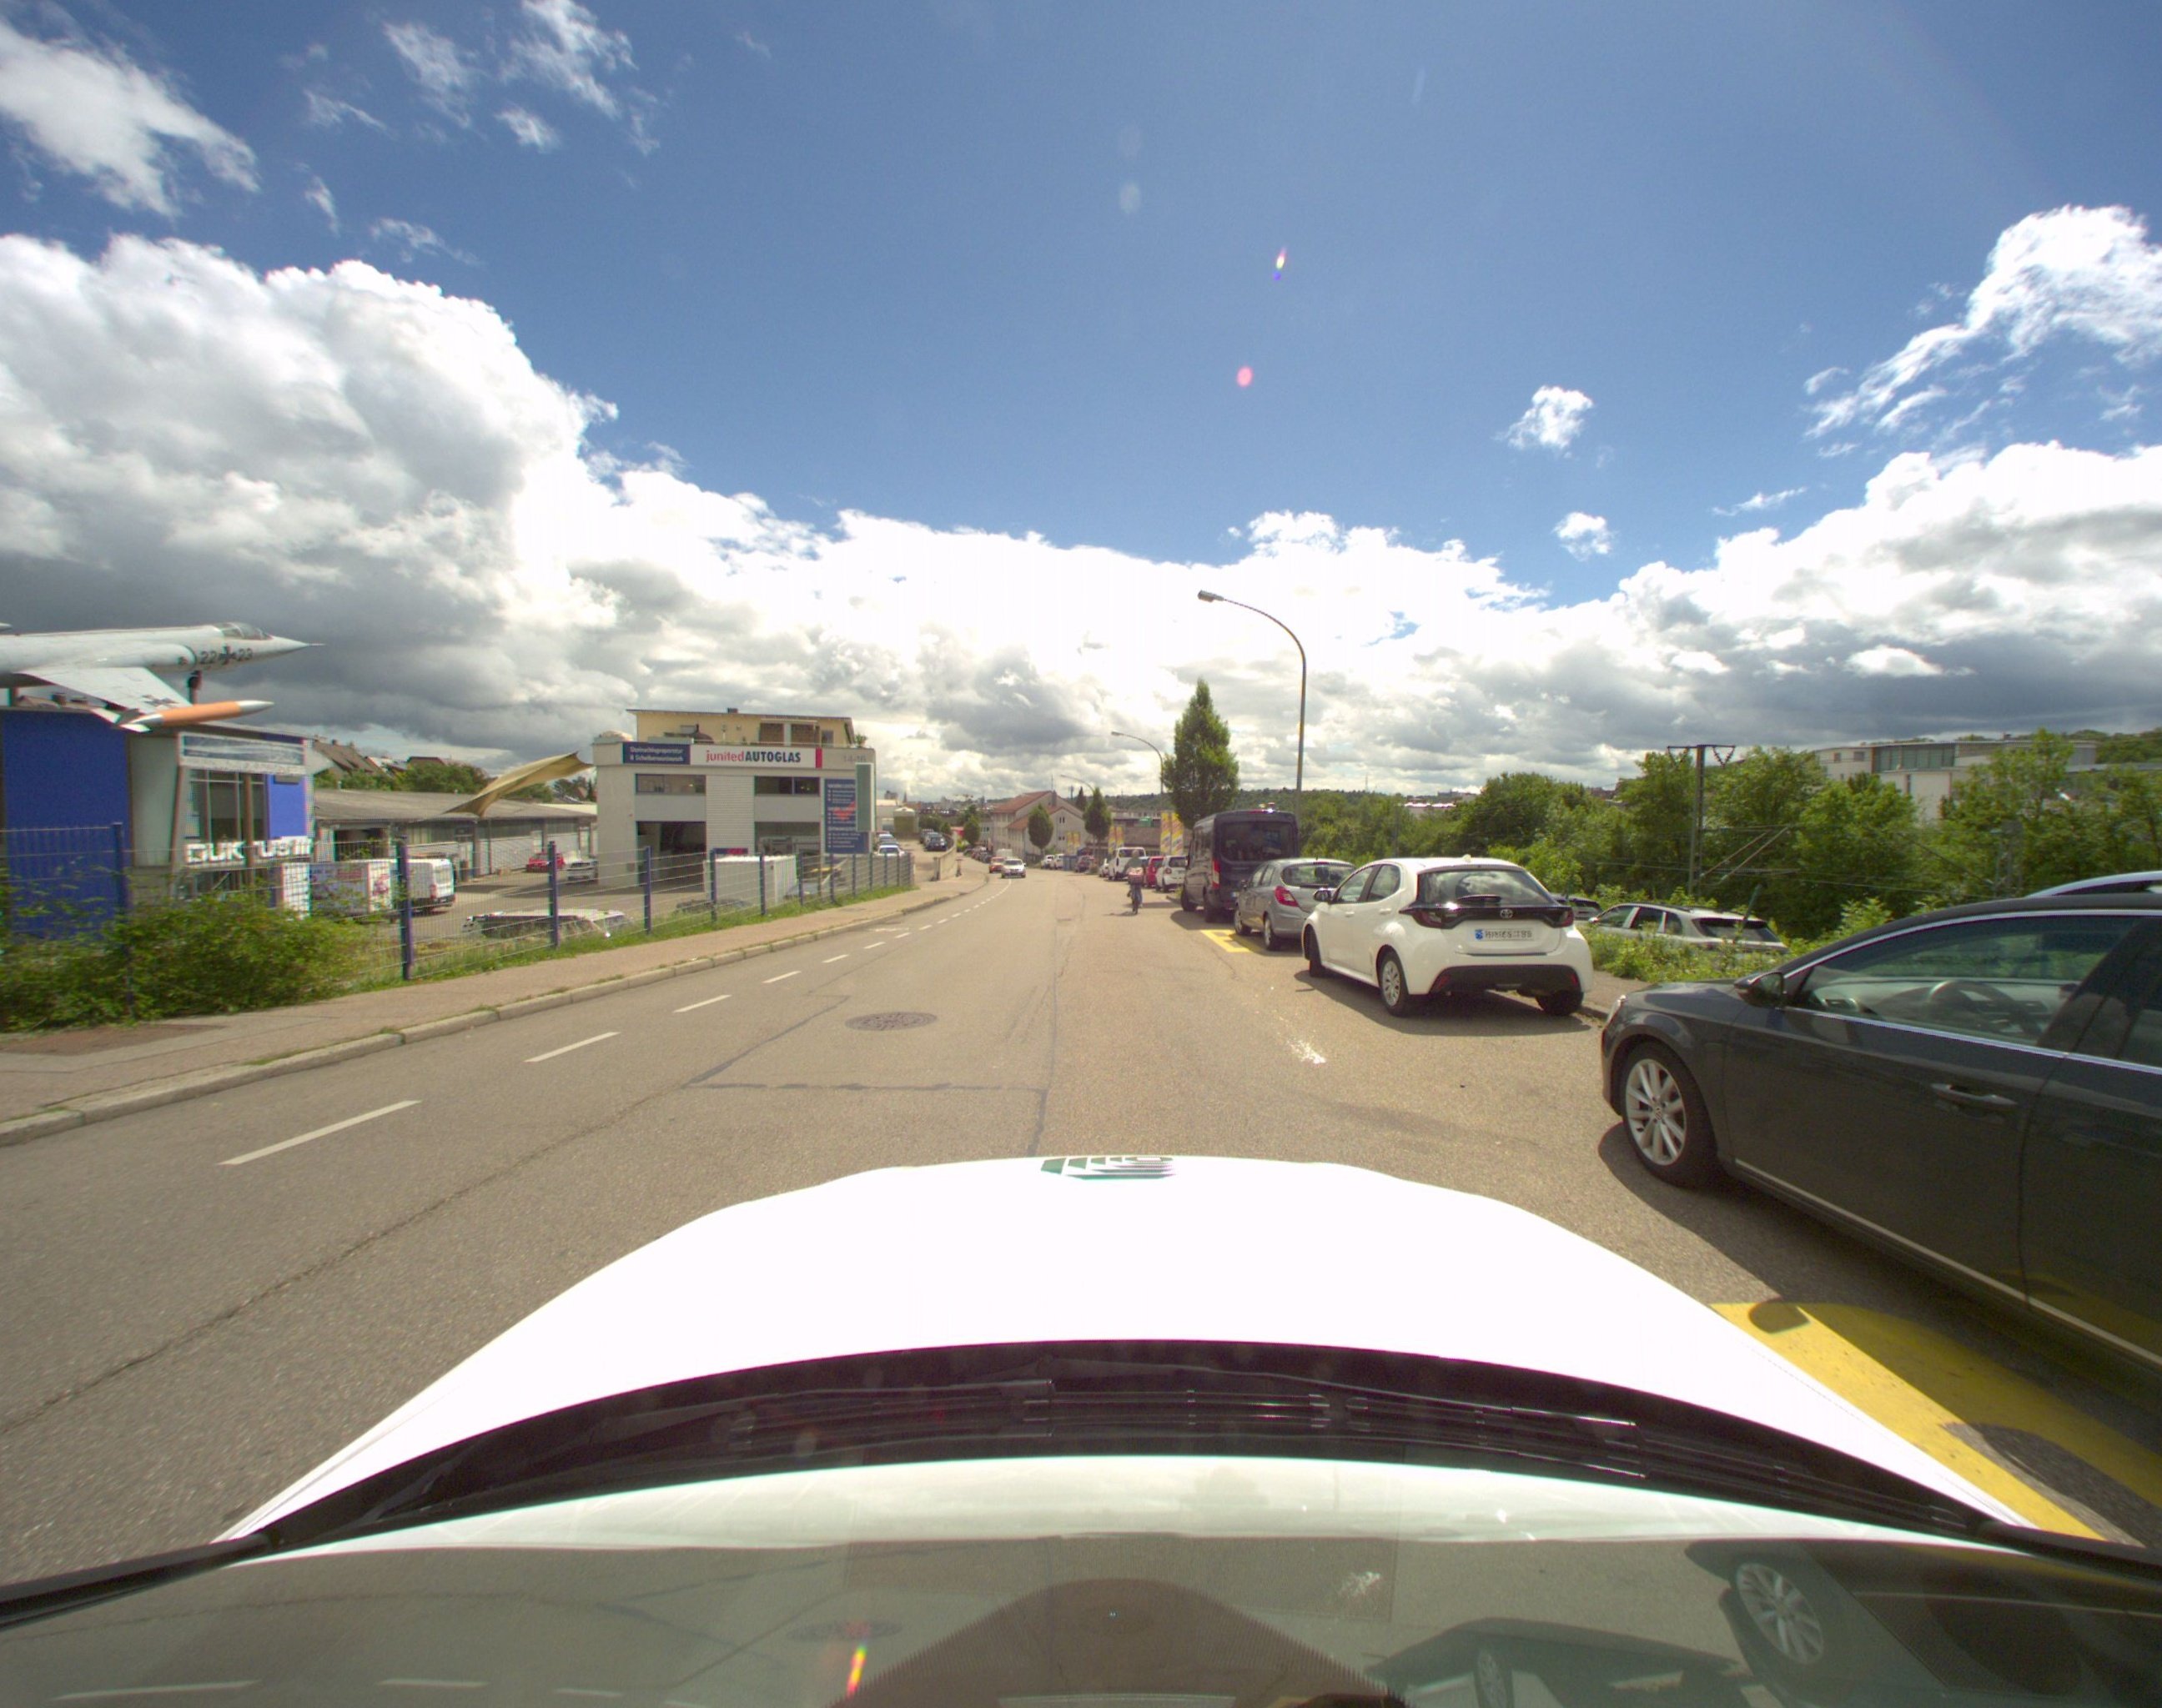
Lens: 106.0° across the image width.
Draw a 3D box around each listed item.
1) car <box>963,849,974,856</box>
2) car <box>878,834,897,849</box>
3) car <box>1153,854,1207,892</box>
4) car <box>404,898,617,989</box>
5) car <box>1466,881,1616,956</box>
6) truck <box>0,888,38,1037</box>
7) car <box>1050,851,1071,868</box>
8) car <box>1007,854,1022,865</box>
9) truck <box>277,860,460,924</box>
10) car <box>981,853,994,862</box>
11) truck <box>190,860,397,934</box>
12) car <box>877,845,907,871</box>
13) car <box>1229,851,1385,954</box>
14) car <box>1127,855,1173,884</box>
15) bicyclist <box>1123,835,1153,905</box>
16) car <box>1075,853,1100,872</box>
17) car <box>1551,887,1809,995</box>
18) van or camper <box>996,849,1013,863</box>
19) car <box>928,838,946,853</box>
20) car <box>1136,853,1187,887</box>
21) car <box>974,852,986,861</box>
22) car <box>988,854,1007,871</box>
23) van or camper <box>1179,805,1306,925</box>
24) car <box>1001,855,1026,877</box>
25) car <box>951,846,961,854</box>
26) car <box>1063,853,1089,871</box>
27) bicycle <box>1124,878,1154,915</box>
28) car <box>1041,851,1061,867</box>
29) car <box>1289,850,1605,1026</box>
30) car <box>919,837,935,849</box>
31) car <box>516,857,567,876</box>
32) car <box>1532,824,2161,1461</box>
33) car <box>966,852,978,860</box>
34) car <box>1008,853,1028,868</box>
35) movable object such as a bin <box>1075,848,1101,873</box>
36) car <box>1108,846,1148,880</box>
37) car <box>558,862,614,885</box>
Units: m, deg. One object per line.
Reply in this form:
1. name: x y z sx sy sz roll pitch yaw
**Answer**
1. car: -24.588 -0.351 177.434 1.995 1.420 3.983 -2 0 -12
2. car: -18.547 -1.178 78.128 1.672 1.323 3.701 -2 0 -13
3. car: 4.108 0.769 34.287 1.789 1.506 2.904 -2 0 -2
4. car: -14.559 2.253 20.998 3.977 2.013 1.998 -2 0 -3
5. car: 11.362 1.542 20.426 1.700 1.510 3.696 1 1 1
6. truck: -22.392 2.137 13.514 2.447 2.873 5.886 0 0 2
7. car: -2.199 0.619 86.848 1.812 1.706 3.990 -2 0 -7
8. car: -10.081 0.810 123.036 1.992 1.464 3.990 -2 0 -7
9. truck: -31.996 1.646 36.806 5.786 2.574 2.198 -2 0 -13
10. car: -16.498 0.581 144.053 1.995 1.464 3.984 -2 0 -11
11. truck: -32.329 1.708 33.654 5.786 2.706 2.168 -2 0 -13
12. car: -12.807 0.254 55.257 1.849 1.650 3.982 -2 0 -13
13. car: 3.761 0.729 14.175 1.700 1.510 3.696 1 1 1
14. car: 3.635 0.793 43.361 1.899 1.442 3.539 -2 0 -3
15. bicyclist: 1.520 0.413 21.898 0.682 1.825 1.081 -2 0 1
16. car: 0.546 0.714 72.640 1.989 1.618 3.995 -2 0 -3
17. car: 11.235 1.535 15.761 1.700 1.510 4.530 1 1 1
18. van or camper: -12.012 0.263 127.800 1.995 2.013 3.983 2 0 -13
19. car: -13.773 -0.837 77.931 1.671 1.323 3.705 -1 2 -11
20. car: 3.783 0.729 38.900 1.870 1.508 3.997 -2 0 -2
21. car: -19.206 0.485 155.205 1.995 1.464 3.984 -2 0 -11
22. car: -8.243 0.789 80.347 1.707 1.574 3.991 -2 0 -6
23. van or camper: 3.844 0.224 20.563 2.117 2.585 5.917 0 0 1
24. car: -5.168 0.876 61.638 1.701 1.562 4.317 -1 0 -7
25. car: -31.204 -0.965 203.693 1.997 2.013 3.979 2 0 -16
26. car: -0.549 0.804 81.449 2.133 1.706 3.990 -2 0 -7
27. bicycle: 1.535 1.117 21.833 0.685 0.878 2.102 -2 0 1
28. car: -3.443 0.583 92.414 1.841 1.706 3.990 -2 0 -7
29. car: 3.686 0.718 9.055 1.700 1.479 3.957 1 1 -1
30. car: -18.052 -1.322 95.264 1.672 1.323 3.702 -2 2 -13
31. car: -40.746 0.928 61.608 1.997 1.354 3.979 0 0 -15
32. car: 3.388 0.684 2.324 1.700 1.487 4.573 1 1 1
33. car: -21.668 0.396 161.697 1.995 1.464 3.984 -2 0 -11
34. car: -7.591 0.780 98.173 1.994 1.618 3.986 -2 0 -10
35. movable object such as a bin: 0.660 0.585 77.311 2.133 2.302 2.551 -2 0 -8
36. car: 2.831 0.520 50.025 1.988 2.013 4.914 0 0 -2
37. car: -31.801 1.220 52.456 1.997 1.354 3.979 0 0 -15
